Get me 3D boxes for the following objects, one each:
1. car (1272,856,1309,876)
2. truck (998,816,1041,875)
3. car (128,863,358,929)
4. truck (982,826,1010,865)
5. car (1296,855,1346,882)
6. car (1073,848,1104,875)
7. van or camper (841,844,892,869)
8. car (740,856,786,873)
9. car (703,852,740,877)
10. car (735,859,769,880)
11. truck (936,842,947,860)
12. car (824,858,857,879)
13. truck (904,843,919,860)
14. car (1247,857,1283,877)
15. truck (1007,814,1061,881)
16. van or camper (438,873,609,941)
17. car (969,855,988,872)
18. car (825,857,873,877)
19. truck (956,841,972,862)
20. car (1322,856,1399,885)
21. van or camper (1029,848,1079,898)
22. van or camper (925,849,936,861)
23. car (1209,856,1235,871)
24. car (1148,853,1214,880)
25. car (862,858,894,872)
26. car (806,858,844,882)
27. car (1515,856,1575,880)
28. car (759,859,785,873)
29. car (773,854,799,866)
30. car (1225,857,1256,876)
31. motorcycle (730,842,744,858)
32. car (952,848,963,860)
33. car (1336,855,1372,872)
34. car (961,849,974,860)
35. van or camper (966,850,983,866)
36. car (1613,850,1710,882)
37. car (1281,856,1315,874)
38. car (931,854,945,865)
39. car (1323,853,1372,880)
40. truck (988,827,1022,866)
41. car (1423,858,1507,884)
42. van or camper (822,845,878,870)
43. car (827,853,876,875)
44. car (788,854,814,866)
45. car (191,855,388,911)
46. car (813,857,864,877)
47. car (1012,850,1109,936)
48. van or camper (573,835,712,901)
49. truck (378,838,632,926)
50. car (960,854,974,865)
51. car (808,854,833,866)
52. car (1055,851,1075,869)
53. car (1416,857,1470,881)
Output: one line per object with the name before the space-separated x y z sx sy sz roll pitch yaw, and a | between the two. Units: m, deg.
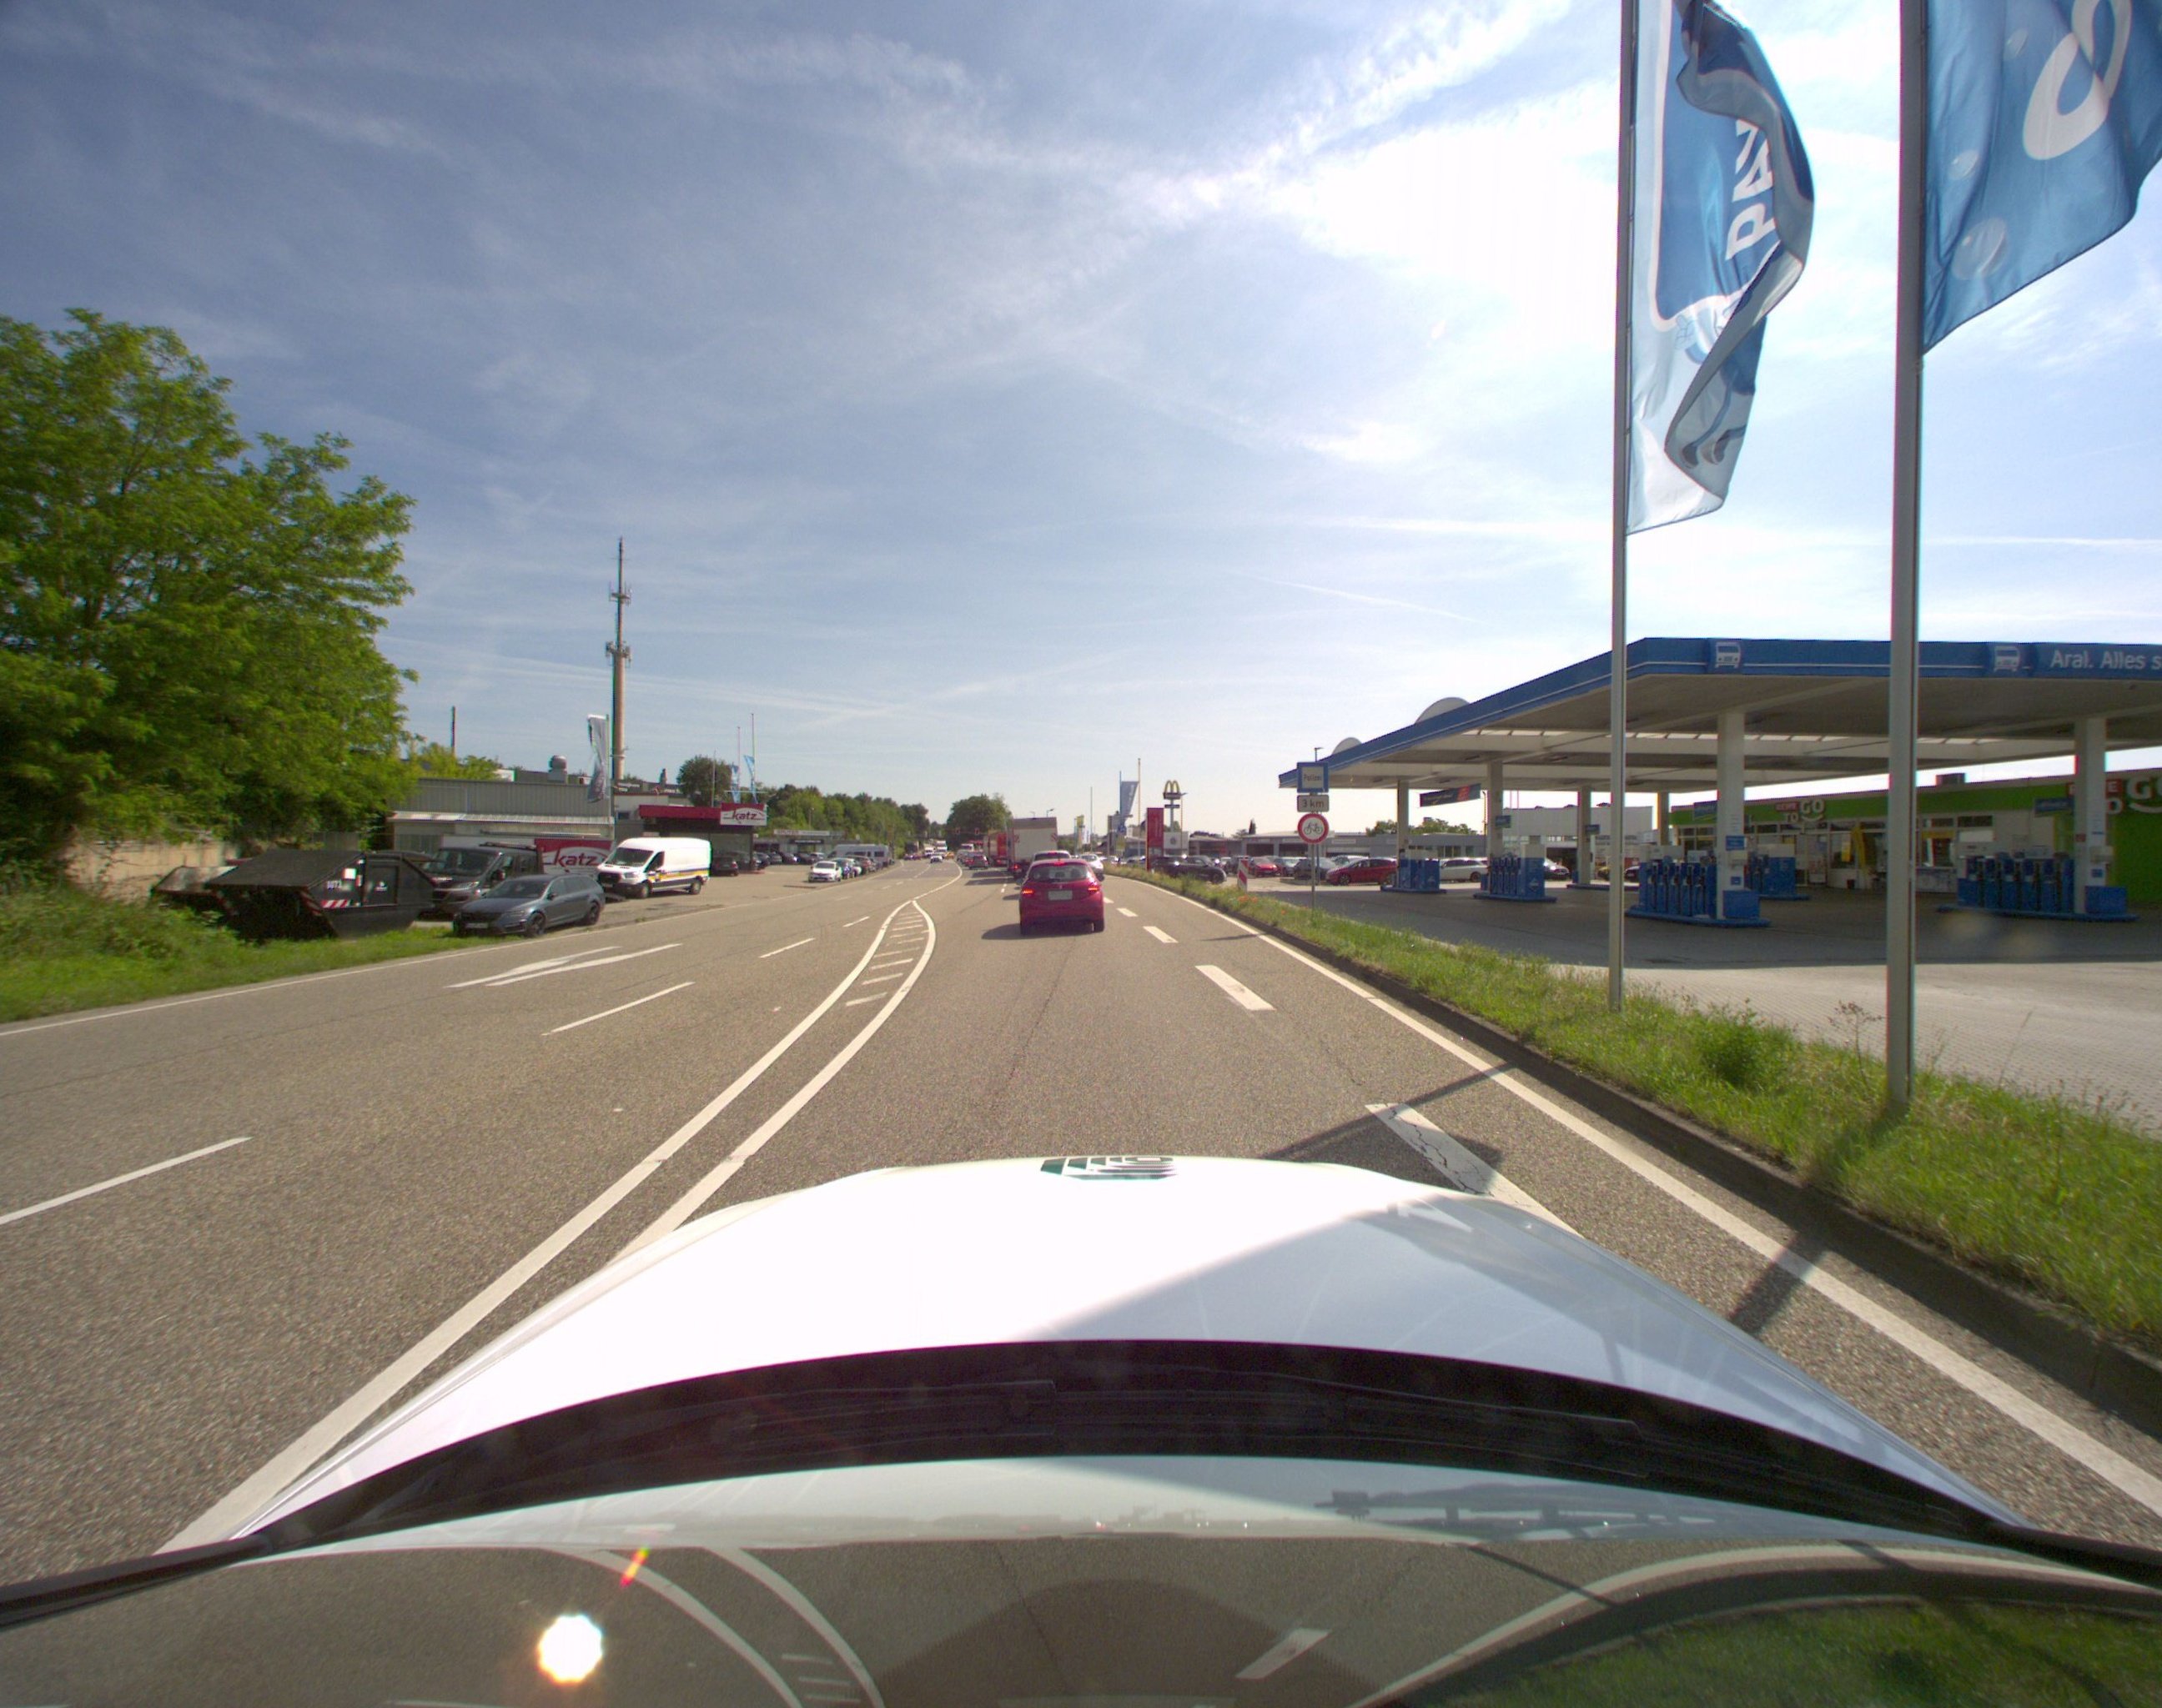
car | 16.344 0.905 63.619 1.556 1.409 3.588 -2 0 -6
truck | -5.368 -0.672 68.062 2.887 4.266 16.670 -1 0 -7
car | -21.011 0.999 20.608 3.668 1.511 1.707 0 0 -17
truck | -12.394 -1.200 117.179 3.062 5.220 16.952 0 0 -9
car | 15.212 0.874 51.780 1.612 1.594 3.852 -2 0 -6
car | 0.463 0.522 54.651 1.988 1.750 3.998 0 -1 -1
van or camper | -24.189 0.242 92.048 5.243 2.731 2.204 -1 0 -9
car | -31.851 1.034 81.595 3.965 1.532 1.751 -1 0 -33
car | -25.650 0.742 58.069 1.865 1.504 4.353 2 1 -31
car | -28.764 1.360 71.132 1.834 1.675 4.083 6 -4 -34
truck | -35.385 -0.706 206.443 2.553 4.307 7.571 -2 1 -9
car | -18.784 1.136 63.729 1.777 1.494 3.772 3 0 -7
truck | -37.979 -0.569 182.387 2.816 3.786 6.958 -2 1 -13
car | 14.273 0.992 63.377 1.556 1.409 3.588 -2 0 -6
truck | -3.165 -0.393 51.881 2.875 3.811 11.119 -1 0 -6
van or camper | -14.511 1.295 21.556 1.636 1.524 4.462 0 0 -3
car | -10.190 0.938 81.290 1.788 1.638 3.496 -1 0 -6
car | -19.633 1.110 68.919 3.709 1.525 1.785 -2 0 -11
truck | -24.577 -0.602 171.553 2.955 4.208 10.617 -3 1 -8
car | 16.352 0.942 47.697 3.893 1.572 1.805 -1 0 -2
van or camper | -1.155 0.692 32.342 1.743 1.787 5.125 0 0 -4
van or camper | -33.383 0.248 180.780 2.173 2.551 4.156 0 0 -10
car | 13.990 0.943 80.913 1.556 1.409 3.588 -2 0 -6
car | 5.889 0.743 47.784 3.607 1.409 1.548 -2 0 -30
car | -25.401 1.360 101.986 3.817 1.539 1.836 -1 0 -11
car | -17.756 1.074 56.604 1.777 1.618 3.990 0 0 -7
car | 30.092 0.885 52.950 1.556 1.409 3.588 -2 0 -6
car | -38.716 1.514 101.965 1.779 1.588 3.783 -1 0 -42
car | -37.843 0.775 104.476 1.779 1.588 3.783 -1 0 -42
car | 13.292 1.030 68.100 1.556 1.409 3.588 -2 0 -6
motorcycle | -28.073 -0.320 66.434 0.774 1.261 2.035 -1 0 -29
car | -21.534 0.011 142.096 1.725 1.909 3.305 0 -1 -6
car | 23.106 0.793 69.044 1.556 1.409 3.588 -2 0 -6
car | -16.703 0.087 120.001 1.724 1.519 3.307 0 -1 -4
van or camper | -13.401 0.483 102.345 1.852 1.905 3.772 0 0 -10
car | 30.899 0.640 43.409 3.977 1.637 1.752 0 0 -3
car | 18.291 0.899 68.812 1.556 1.409 3.681 -2 0 -6
car | -23.039 0.884 131.380 1.933 1.674 3.991 -3 0 -6
car | 17.384 0.796 53.292 1.556 1.594 3.852 -2 0 -6
truck | -9.204 -0.849 96.669 2.957 4.269 16.530 0 0 -9
car | 22.698 1.003 48.237 4.323 1.494 1.560 -1 0 -6
van or camper | -26.621 0.376 94.107 5.891 2.873 2.282 -1 1 -10
car | -20.184 0.840 71.765 3.887 1.716 1.800 3 0 -11
car | -36.395 0.776 105.852 1.779 1.588 3.783 -1 0 -42
car | -22.578 0.788 23.415 3.678 1.469 1.725 0 0 -26
car | -19.840 1.075 66.736 3.797 1.525 1.840 -1 0 -11
car | -0.482 0.739 17.407 1.797 1.572 3.709 -2 0 -3
van or camper | -18.635 0.531 35.064 2.143 2.499 5.960 3 0 6
truck | -18.391 0.770 26.994 2.325 2.297 8.794 4 0 -2
car | -15.272 0.767 109.310 1.727 1.519 3.300 0 -1 -10
car | -34.404 0.784 107.567 1.779 1.588 3.783 -1 0 -42
car | -1.592 0.629 83.658 1.988 1.750 3.998 0 -1 -1
car | 23.028 0.955 51.932 1.556 1.409 3.588 -2 0 -6
